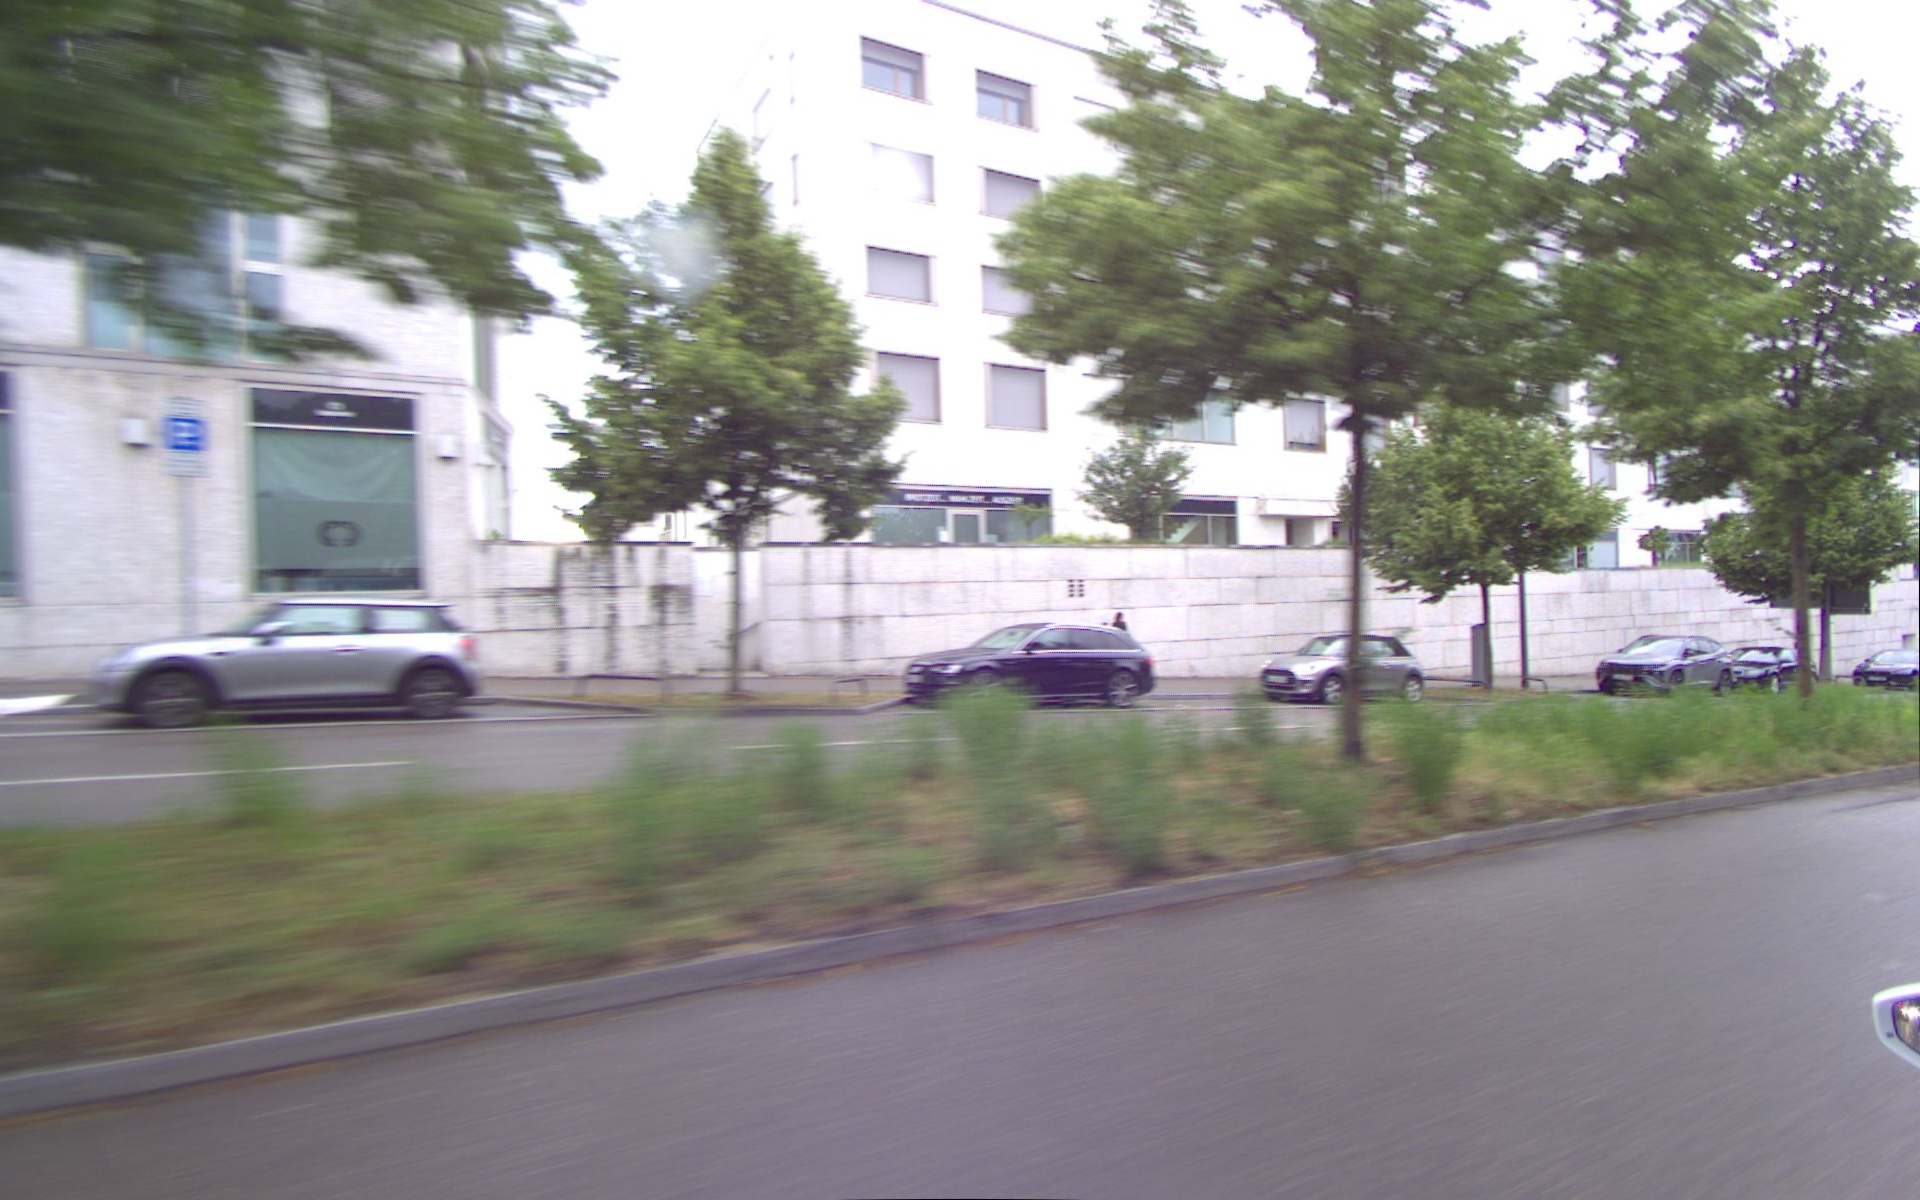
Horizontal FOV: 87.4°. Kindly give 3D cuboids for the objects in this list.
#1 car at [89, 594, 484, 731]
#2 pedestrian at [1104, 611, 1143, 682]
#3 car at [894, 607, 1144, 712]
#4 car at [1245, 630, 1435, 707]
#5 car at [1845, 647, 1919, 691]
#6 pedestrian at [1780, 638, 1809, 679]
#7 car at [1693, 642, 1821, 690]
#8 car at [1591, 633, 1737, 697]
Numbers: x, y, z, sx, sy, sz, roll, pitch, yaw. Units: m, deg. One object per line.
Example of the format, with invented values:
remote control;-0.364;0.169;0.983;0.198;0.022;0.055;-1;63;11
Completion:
car;-7.789;0.677;11.987;3.656;1.403;1.686;2;0;-31
pedestrian;4.187;1.178;25.783;0.683;1.798;0.715;1;-1;-30
car;1.038;1.003;17.170;3.969;1.602;1.687;3;-1;-30
car;8.101;1.409;21.391;3.811;1.463;1.688;1;0;-28
car;33.831;2.466;36.308;3.919;1.445;1.671;2;-1;-31
pedestrian;37.524;2.618;45.183;1.009;1.798;0.704;2;-2;-30
car;24.660;2.016;31.053;4.112;1.378;1.688;2;-2;-29
car;19.677;1.802;28.043;4.311;1.641;1.695;3;-2;-30
